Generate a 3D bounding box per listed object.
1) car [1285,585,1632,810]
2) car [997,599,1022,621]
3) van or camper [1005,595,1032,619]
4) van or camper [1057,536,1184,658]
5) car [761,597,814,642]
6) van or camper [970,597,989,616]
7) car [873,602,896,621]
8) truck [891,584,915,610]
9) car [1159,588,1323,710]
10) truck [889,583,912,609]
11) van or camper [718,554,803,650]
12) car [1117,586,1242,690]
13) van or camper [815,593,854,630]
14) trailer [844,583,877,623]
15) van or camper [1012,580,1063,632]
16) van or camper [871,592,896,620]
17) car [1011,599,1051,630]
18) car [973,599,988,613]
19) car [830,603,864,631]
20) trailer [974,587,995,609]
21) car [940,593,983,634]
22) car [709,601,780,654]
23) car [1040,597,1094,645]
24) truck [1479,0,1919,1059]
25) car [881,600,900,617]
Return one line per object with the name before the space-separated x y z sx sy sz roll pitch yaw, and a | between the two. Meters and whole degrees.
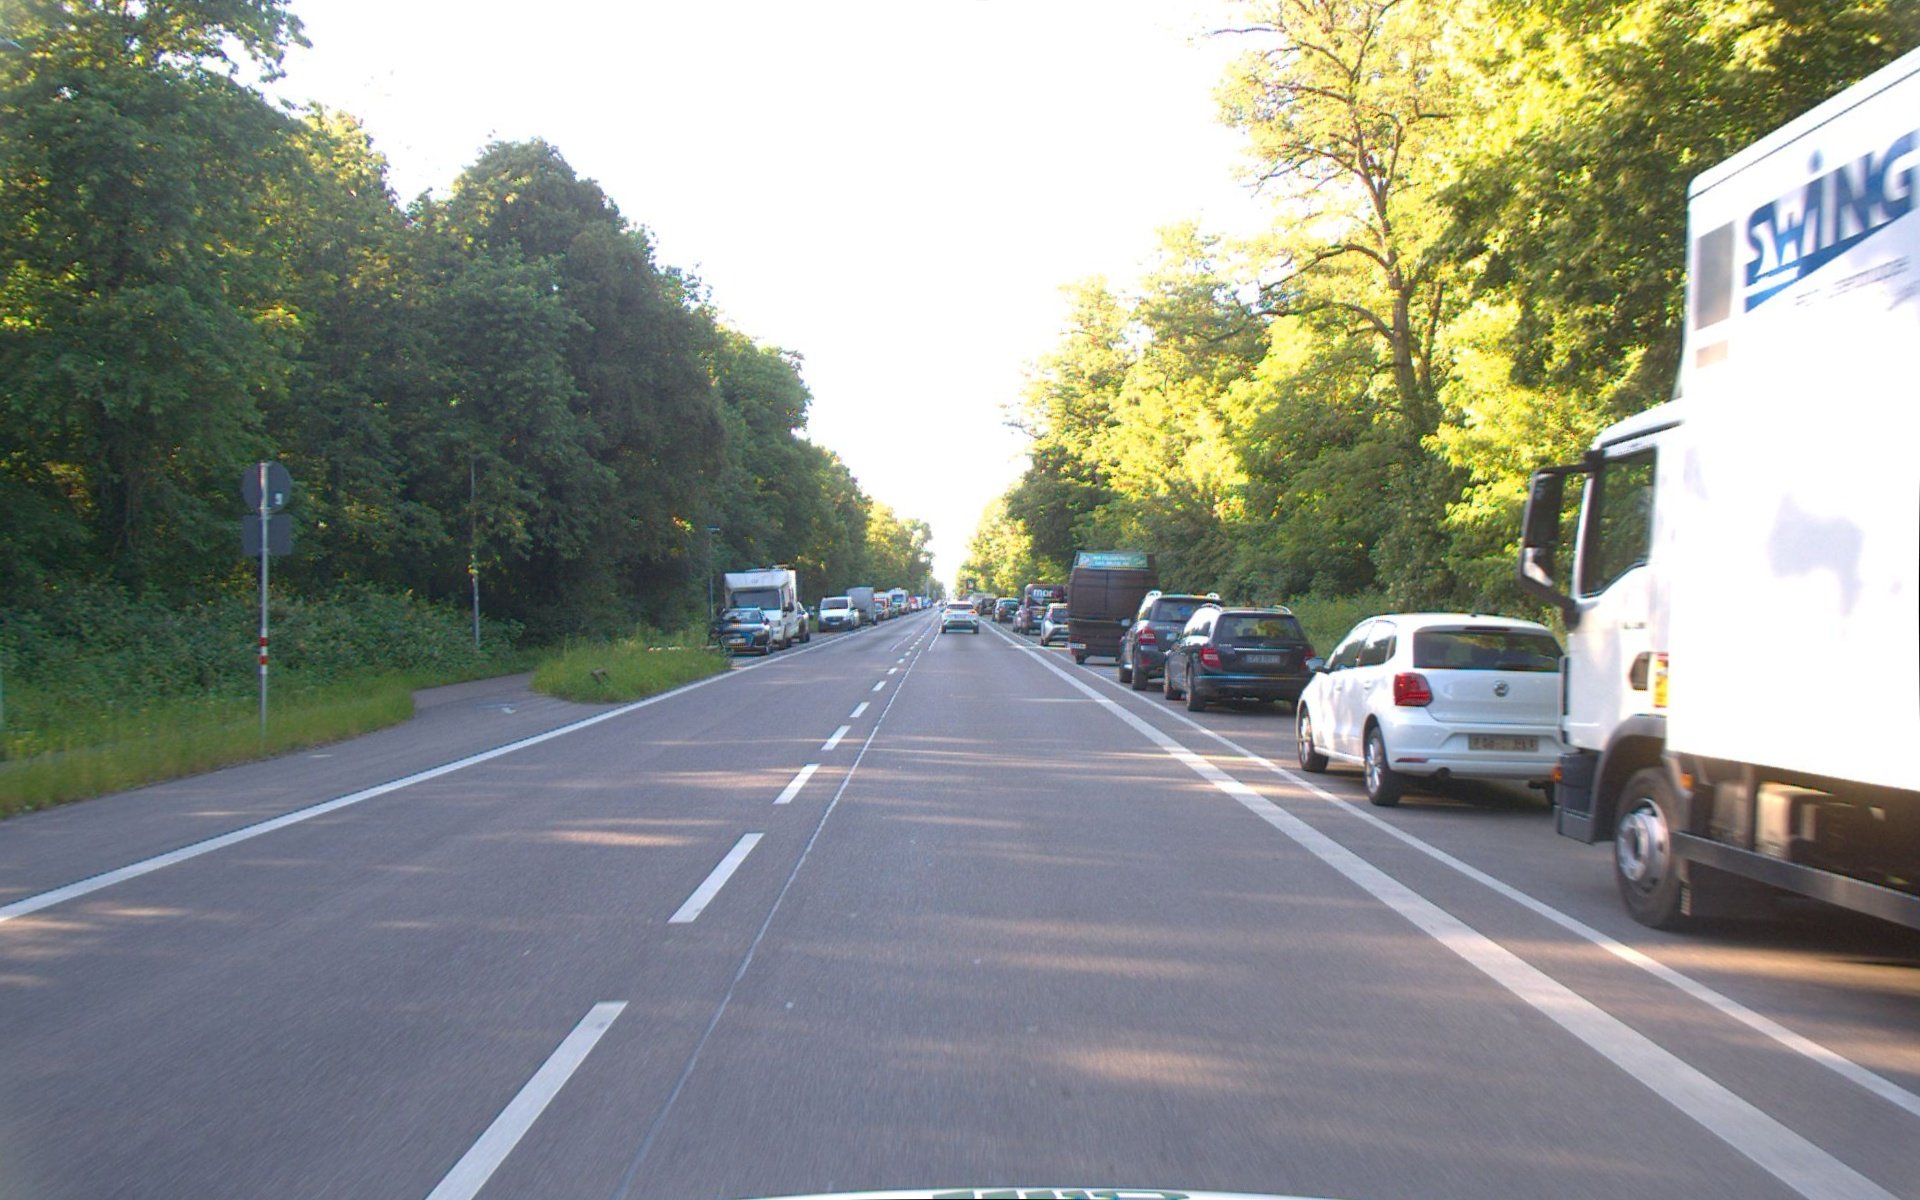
car | 4.015 0.700 14.016 1.677 1.596 4.000 1 0 -1
car | 3.524 0.697 119.284 1.655 1.551 4.149 1 0 0
van or camper | 4.443 0.525 125.746 1.911 1.847 4.380 0 0 0
van or camper | 4.247 -0.089 42.632 2.389 2.848 6.562 -1 0 13
car | -6.900 0.754 66.452 1.612 1.660 4.273 -3 0 0
van or camper | 2.126 0.688 179.278 1.953 1.966 5.198 1 0 0
car | -6.445 0.984 142.046 1.696 1.504 4.324 -2 0 0
truck | -7.122 -0.332 207.902 2.652 3.148 7.988 0 0 0
car | 4.026 0.646 24.360 1.676 1.596 4.552 1 0 1
truck | -7.907 -0.489 219.387 2.652 3.406 10.922 0 0 0
van or camper | -6.903 0.064 58.042 2.268 3.021 7.107 -3 0 -3
car | 3.892 0.625 29.962 1.676 1.694 4.552 1 0 1
van or camper | -6.976 0.619 92.269 1.798 1.945 4.855 -2 0 -1
trailer | -6.911 0.215 115.101 1.953 2.643 4.415 -3 0 0
van or camper | 3.654 0.258 78.923 1.994 2.352 6.039 -1 0 -1
van or camper | -7.412 0.540 160.790 2.077 2.617 6.542 -1 0 0
car | 3.641 0.740 85.604 1.712 1.542 3.998 -2 0 -2
car | 2.477 0.693 202.104 1.803 1.691 4.000 -1 0 0
car | -6.736 0.987 98.879 1.738 1.567 4.524 -2 0 -1
trailer | 3.267 -0.296 223.943 2.701 2.920 6.588 -1 0 0
car | 0.091 0.615 79.170 1.987 1.872 4.029 -1 0 0
car | -6.581 0.805 50.892 1.791 1.501 4.678 -2 0 -3
car | 3.703 0.711 57.810 1.676 1.572 4.022 1 0 1
truck | 4.529 -0.287 5.405 2.775 3.559 8.576 -1 0 -1
car | -7.250 0.875 171.924 1.744 1.713 4.377 0 0 0
